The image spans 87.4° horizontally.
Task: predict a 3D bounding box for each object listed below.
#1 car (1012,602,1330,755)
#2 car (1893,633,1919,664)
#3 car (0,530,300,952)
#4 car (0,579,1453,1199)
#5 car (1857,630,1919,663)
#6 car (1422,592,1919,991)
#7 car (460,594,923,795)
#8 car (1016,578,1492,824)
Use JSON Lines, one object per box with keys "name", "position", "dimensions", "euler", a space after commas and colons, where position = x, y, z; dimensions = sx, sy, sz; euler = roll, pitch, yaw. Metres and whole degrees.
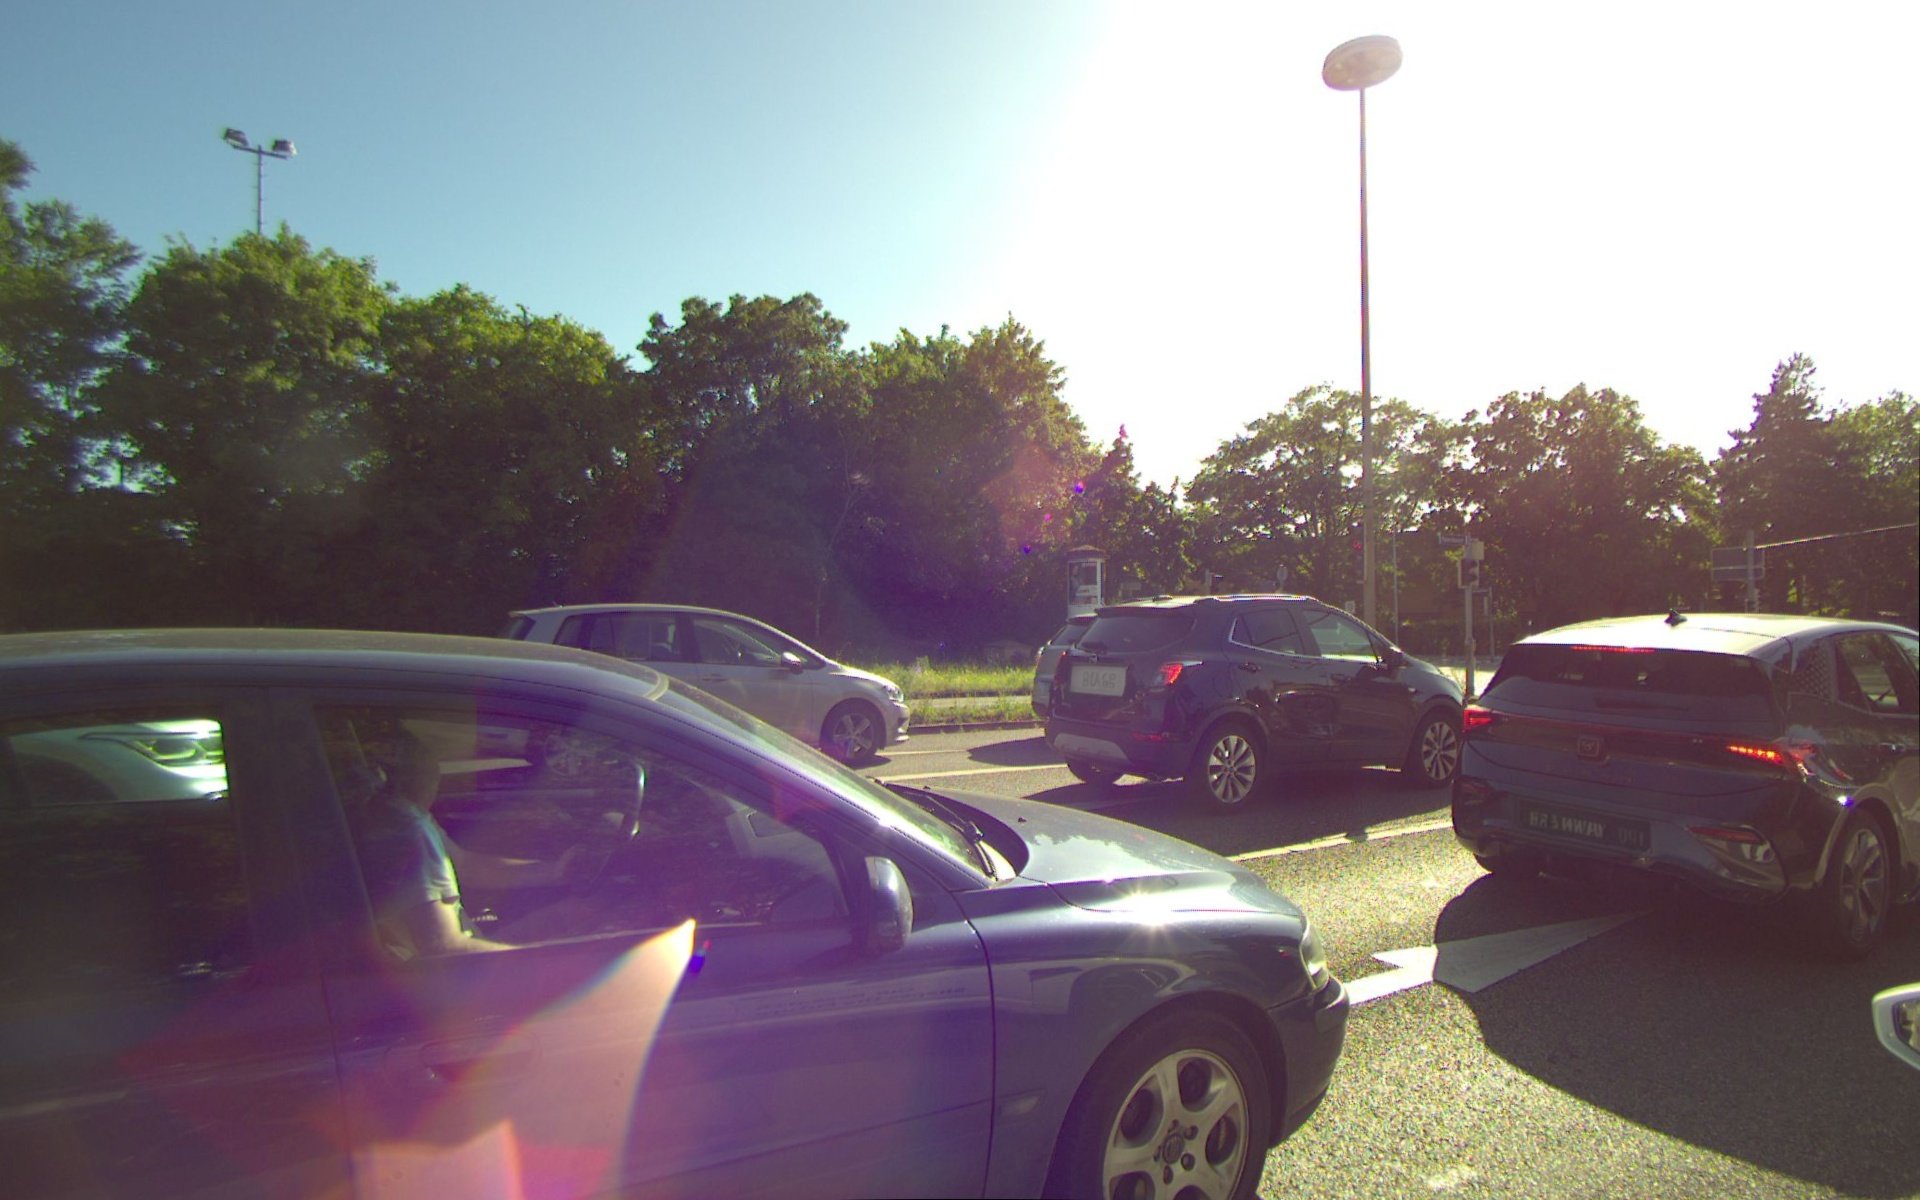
{"name": "car", "position": [2.810, 0.947, 13.186], "dimensions": [3.956, 1.724, 1.820], "euler": [1, -2, -32]}
{"name": "car", "position": [49.967, 2.478, 51.830], "dimensions": [3.959, 1.529, 1.677], "euler": [1, -2, -32]}
{"name": "car", "position": [-5.554, 0.586, 4.332], "dimensions": [4.373, 1.732, 1.984], "euler": [1, -2, -30]}
{"name": "car", "position": [-1.096, 0.720, 2.205], "dimensions": [4.404, 1.471, 1.767], "euler": [2, 0, -30]}
{"name": "car", "position": [44.790, 2.220, 48.033], "dimensions": [3.956, 1.529, 1.678], "euler": [1, -2, -30]}
{"name": "car", "position": [4.740, 0.822, 5.820], "dimensions": [4.158, 1.601, 1.676], "euler": [2, -1, -30]}
{"name": "car", "position": [-2.613, 0.830, 10.010], "dimensions": [4.156, 1.632, 1.822], "euler": [1, -2, -30]}
{"name": "car", "position": [2.620, 0.764, 8.799], "dimensions": [3.953, 1.711, 1.796], "euler": [1, -2, -30]}
